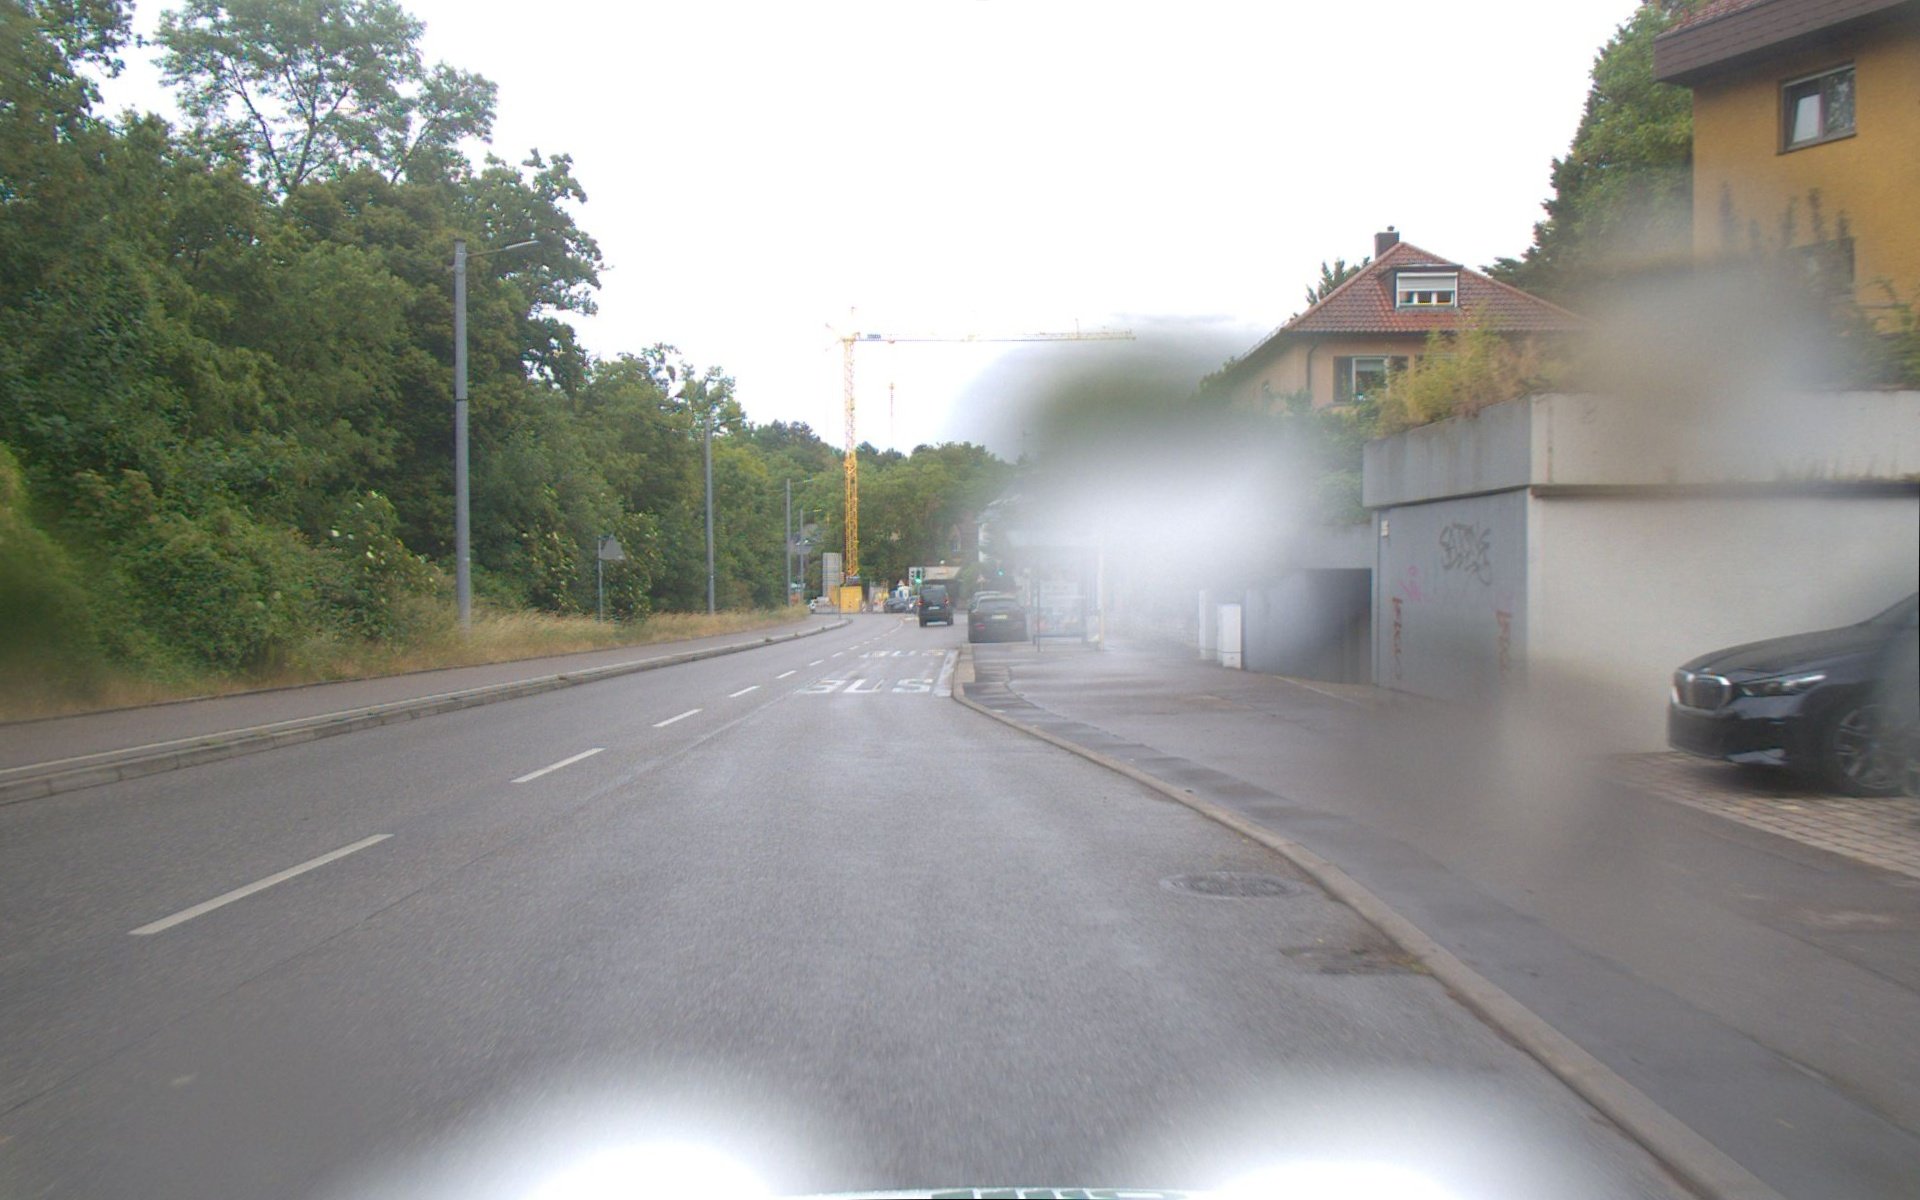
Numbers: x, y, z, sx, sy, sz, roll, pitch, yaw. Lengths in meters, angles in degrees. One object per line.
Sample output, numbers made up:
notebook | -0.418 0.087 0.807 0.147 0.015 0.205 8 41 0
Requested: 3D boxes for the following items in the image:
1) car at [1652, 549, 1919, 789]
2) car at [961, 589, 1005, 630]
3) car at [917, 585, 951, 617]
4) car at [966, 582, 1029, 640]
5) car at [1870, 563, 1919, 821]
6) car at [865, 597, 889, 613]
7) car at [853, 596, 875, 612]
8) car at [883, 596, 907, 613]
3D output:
car | 7.081 0.454 11.723 3.693 1.580 1.609 0 0 -1
car | 1.076 0.428 76.989 1.952 1.803 4.115 1 0 1
car | -1.323 0.061 84.839 1.633 1.621 3.683 0 0 1
car | 1.203 0.348 53.425 1.952 1.803 4.115 0 0 1
car | 7.243 0.493 9.437 3.217 1.506 1.576 -2 1 -1
car | -8.258 0.509 164.550 1.710 1.579 3.843 2 0 -13
car | -9.863 0.421 170.046 1.710 1.579 3.843 0 0 -13
car | -6.239 0.448 158.529 1.710 1.579 3.843 0 0 -13
